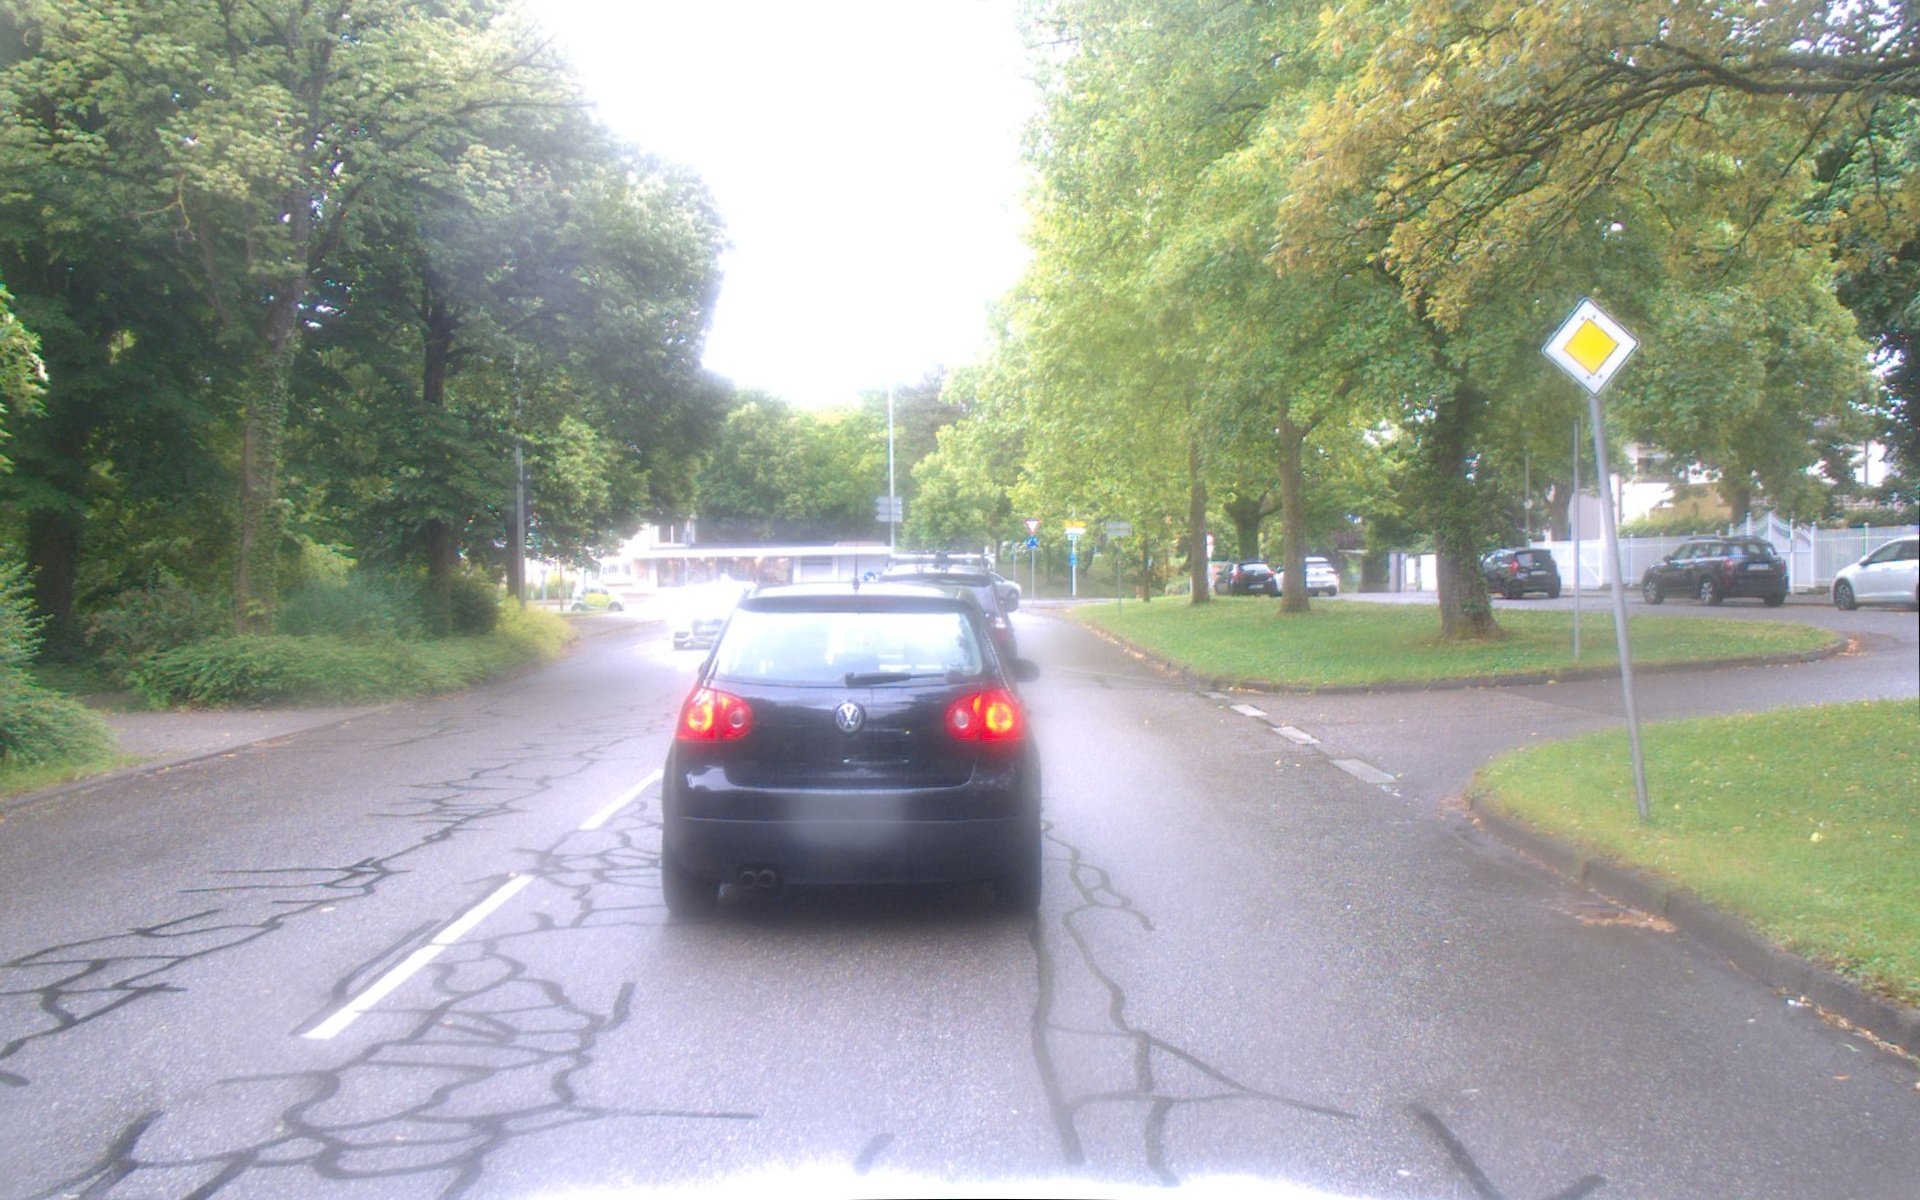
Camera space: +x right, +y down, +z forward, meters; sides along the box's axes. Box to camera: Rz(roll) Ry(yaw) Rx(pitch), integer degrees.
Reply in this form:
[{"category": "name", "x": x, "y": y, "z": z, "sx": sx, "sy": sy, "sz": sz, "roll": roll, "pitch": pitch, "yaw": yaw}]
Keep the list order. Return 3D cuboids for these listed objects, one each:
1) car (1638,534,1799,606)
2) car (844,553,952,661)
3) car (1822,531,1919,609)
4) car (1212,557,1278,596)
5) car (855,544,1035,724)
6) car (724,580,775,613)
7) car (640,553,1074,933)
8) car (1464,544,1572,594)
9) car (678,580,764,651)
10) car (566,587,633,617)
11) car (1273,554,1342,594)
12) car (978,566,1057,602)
[{"category": "car", "x": 17.966, "y": -0.738, "z": 39.390, "sx": 1.766, "sy": 1.556, "sz": 4.110, "roll": -2, "pitch": 2, "yaw": -3}, {"category": "car", "x": -1.084, "y": 0.113, "z": 30.559, "sx": 1.817, "sy": 1.816, "sz": 4.000, "roll": -1, "pitch": 0, "yaw": 0}, {"category": "car", "x": 18.615, "y": -0.601, "z": 31.896, "sx": 1.585, "sy": 1.434, "sz": 4.006, "roll": -2, "pitch": 2, "yaw": -6}, {"category": "car", "x": 11.024, "y": -0.925, "z": 64.184, "sx": 1.767, "sy": 1.409, "sz": 4.000, "roll": -3, "pitch": 1, "yaw": 0}, {"category": "car", "x": -0.160, "y": 0.318, "z": 19.021, "sx": 1.817, "sy": 1.815, "sz": 4.000, "roll": -1, "pitch": 1, "yaw": 0}, {"category": "car", "x": -9.962, "y": -0.148, "z": 78.036, "sx": 1.768, "sy": 1.417, "sz": 3.961, "roll": -3, "pitch": 1, "yaw": -16}, {"category": "car", "x": -0.421, "y": 0.574, "z": 8.594, "sx": 1.762, "sy": 1.542, "sz": 3.753, "roll": 0, "pitch": 0, "yaw": 0}, {"category": "car", "x": 17.330, "y": -0.973, "z": 51.551, "sx": 1.766, "sy": 1.436, "sz": 4.110, "roll": -2, "pitch": 2, "yaw": -3}, {"category": "car", "x": -5.531, "y": 0.323, "z": 38.607, "sx": 1.576, "sy": 1.452, "sz": 4.006, "roll": -2, "pitch": 2, "yaw": -3}, {"category": "car", "x": -17.709, "y": 0.104, "z": 81.288, "sx": 3.062, "sy": 1.333, "sz": 1.537, "roll": -2, "pitch": 1, "yaw": -9}, {"category": "car", "x": 13.502, "y": -1.026, "z": 64.399, "sx": 1.767, "sy": 1.430, "sz": 4.000, "roll": -3, "pitch": 1, "yaw": 0}, {"category": "car", "x": 2.997, "y": -0.857, "z": 85.961, "sx": 1.964, "sy": 1.735, "sz": 3.976, "roll": -2, "pitch": 1, "yaw": 42}]
